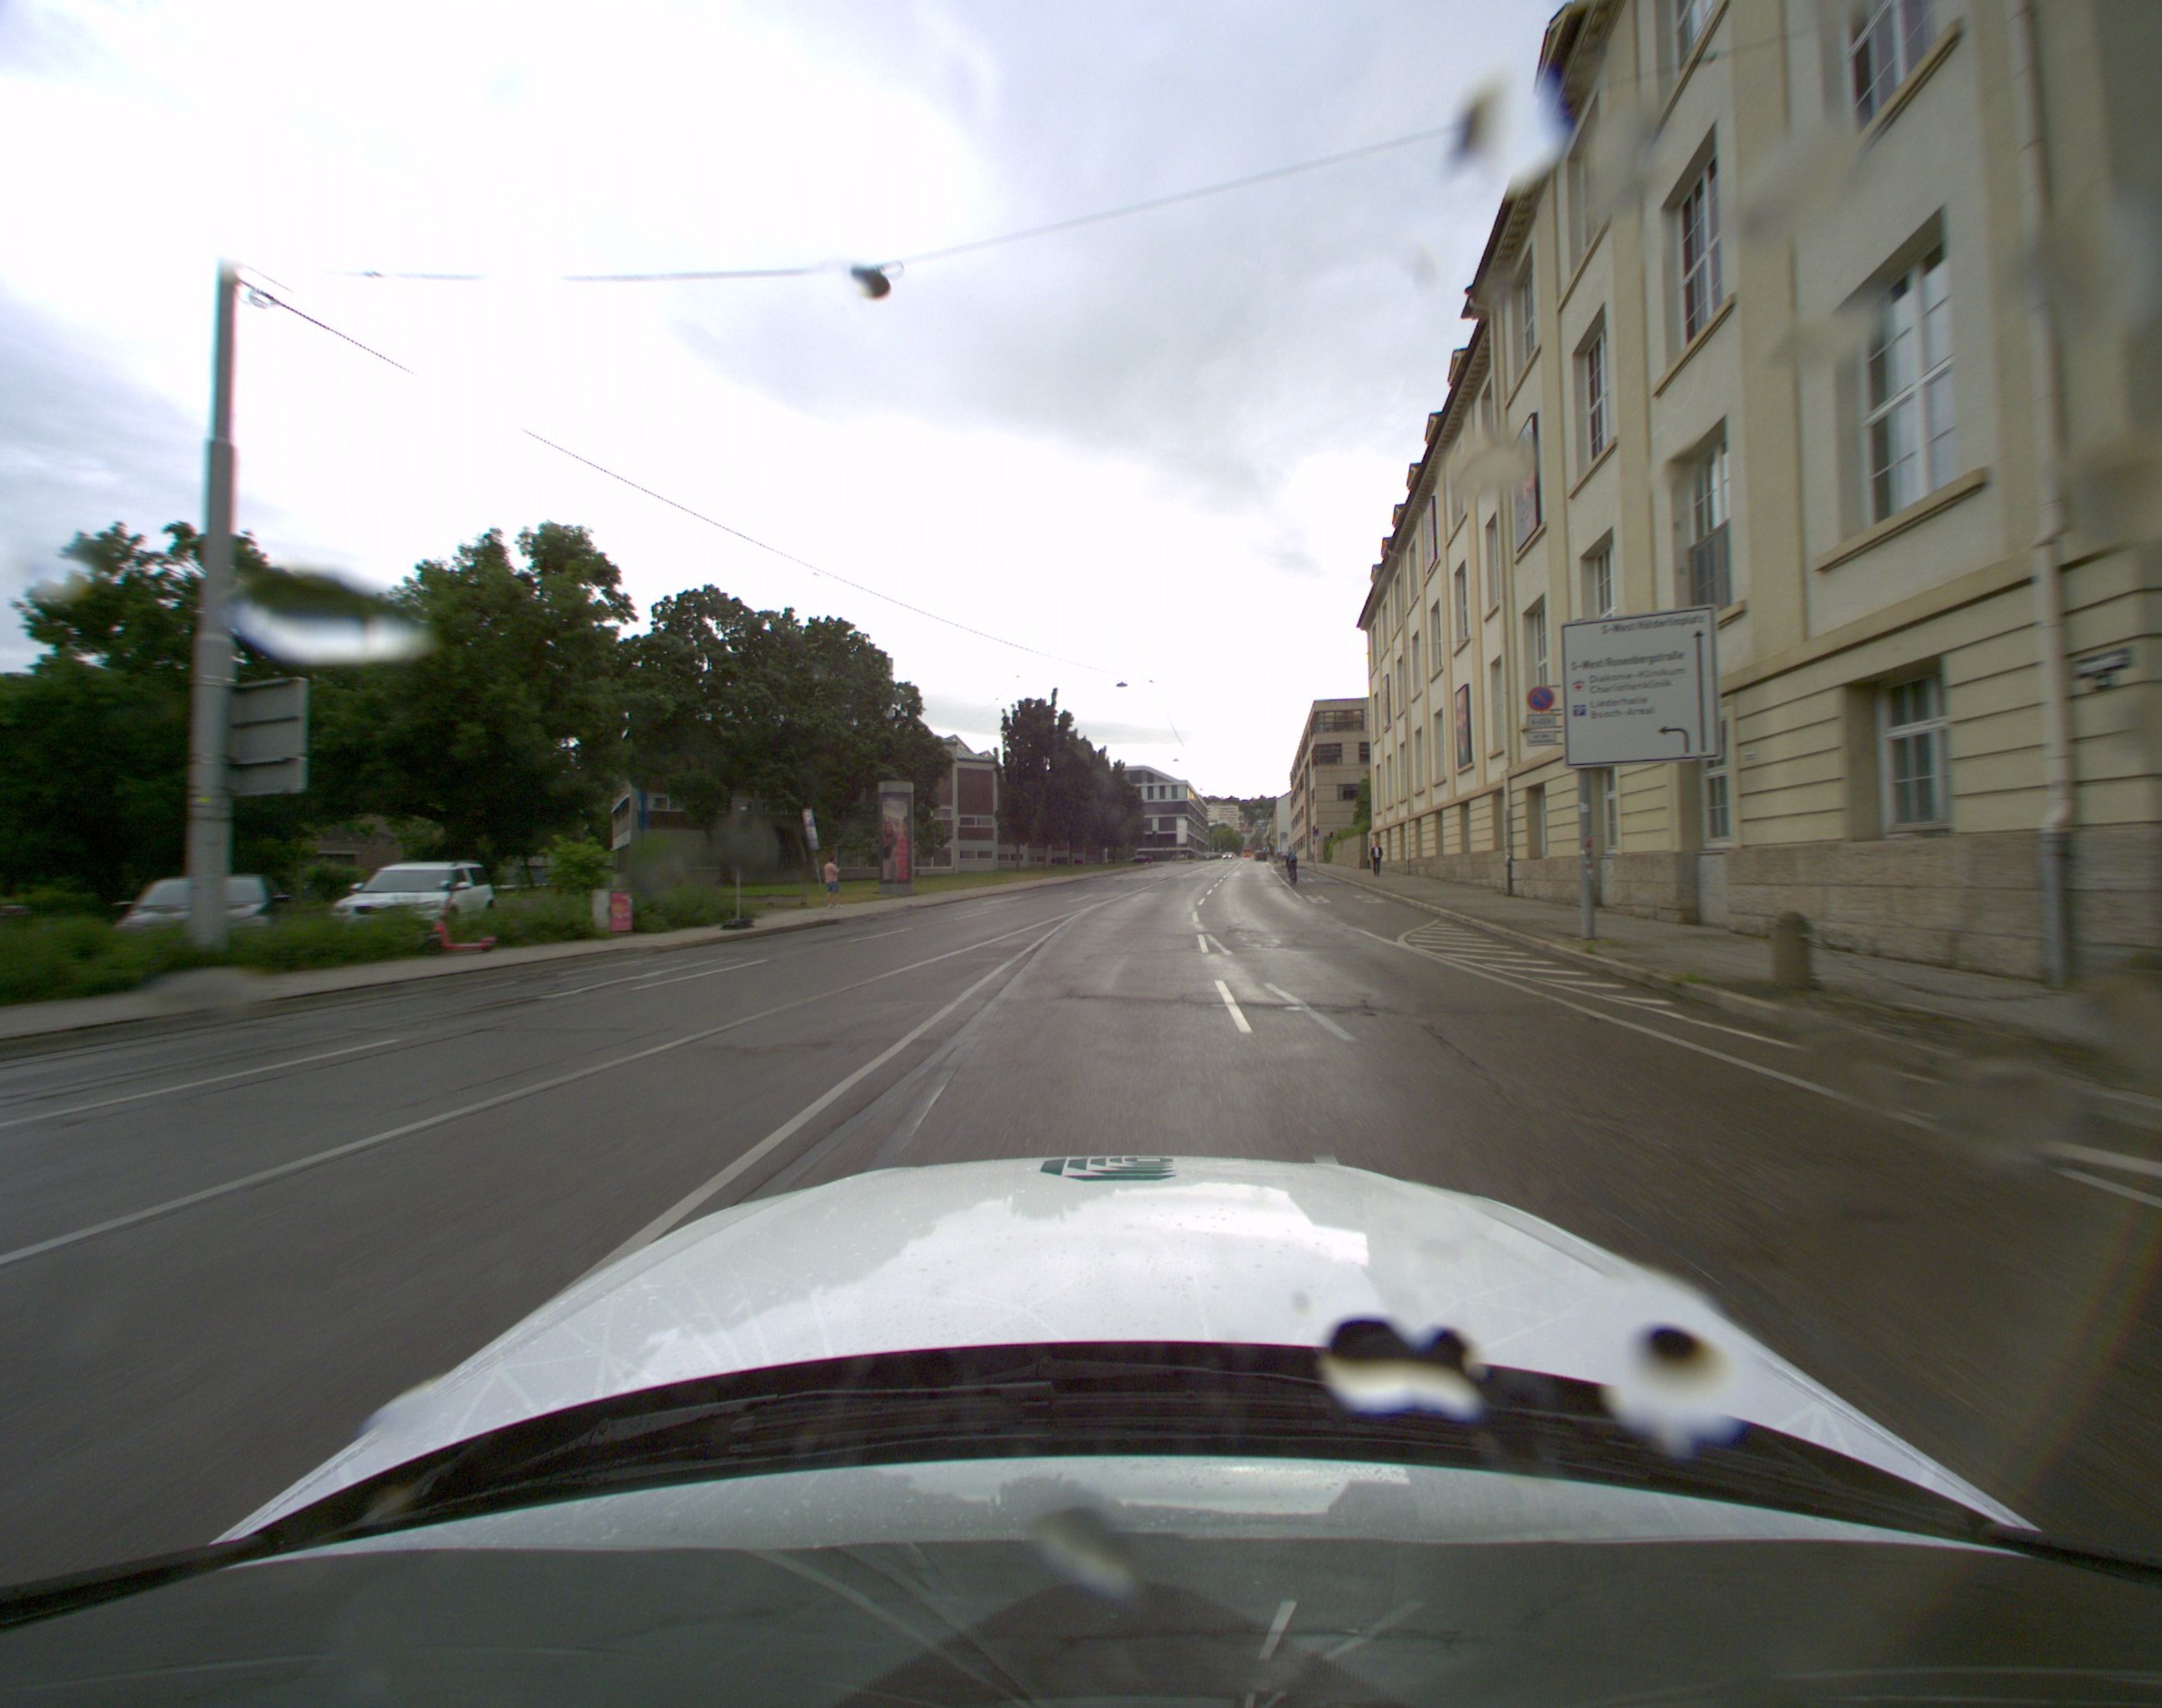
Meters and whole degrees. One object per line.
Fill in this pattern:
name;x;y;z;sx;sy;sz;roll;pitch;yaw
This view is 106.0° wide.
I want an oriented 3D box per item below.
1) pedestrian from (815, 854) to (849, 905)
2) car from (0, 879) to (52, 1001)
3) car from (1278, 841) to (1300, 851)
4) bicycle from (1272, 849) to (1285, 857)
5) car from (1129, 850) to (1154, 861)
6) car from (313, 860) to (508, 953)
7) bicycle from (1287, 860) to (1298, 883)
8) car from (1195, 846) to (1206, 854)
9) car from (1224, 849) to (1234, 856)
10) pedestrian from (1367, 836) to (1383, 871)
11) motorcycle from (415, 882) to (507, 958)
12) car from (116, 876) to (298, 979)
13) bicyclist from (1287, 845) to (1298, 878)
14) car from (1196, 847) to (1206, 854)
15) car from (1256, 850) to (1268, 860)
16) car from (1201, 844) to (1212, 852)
pedestrian;-8.244;0.829;26.986;0.664;1.686;0.918;0;0;19
car;-14.997;1.070;10.547;4.524;1.349;1.917;0;0;36
car;44.730;-1.742;174.896;4.409;1.712;1.911;-4;-1;11
bicycle;27.295;-0.114;112.678;1.720;1.119;0.661;-1;0;6
car;10.324;0.260;138.267;3.876;1.816;1.942;0;0;14
car;-13.841;0.968;17.164;1.870;1.609;4.494;0;0;-22
bicycle;9.530;0.769;36.770;0.444;0.963;1.696;-1;1;14
car;24.335;-0.843;165.341;1.837;1.617;4.506;0;0;12
car;35.365;-0.352;194.942;1.868;1.491;5.240;-3;0;14
pedestrian;15.418;-0.014;42.691;0.665;1.798;0.855;0;0;13
motorcycle;-11.025;1.149;14.520;0.511;1.247;1.272;0;0;13
car;-14.323;1.107;13.550;1.854;1.349;3.553;0;0;-44
bicyclist;9.518;0.337;36.710;0.481;1.433;0.934;0;0;14
car;25.445;-0.814;171.977;1.809;1.418;4.417;0;0;12
car;30.075;0.130;135.598;1.760;1.604;4.407;0;0;11
car;28.117;-1.418;181.822;1.948;1.750;4.961;0;0;14
